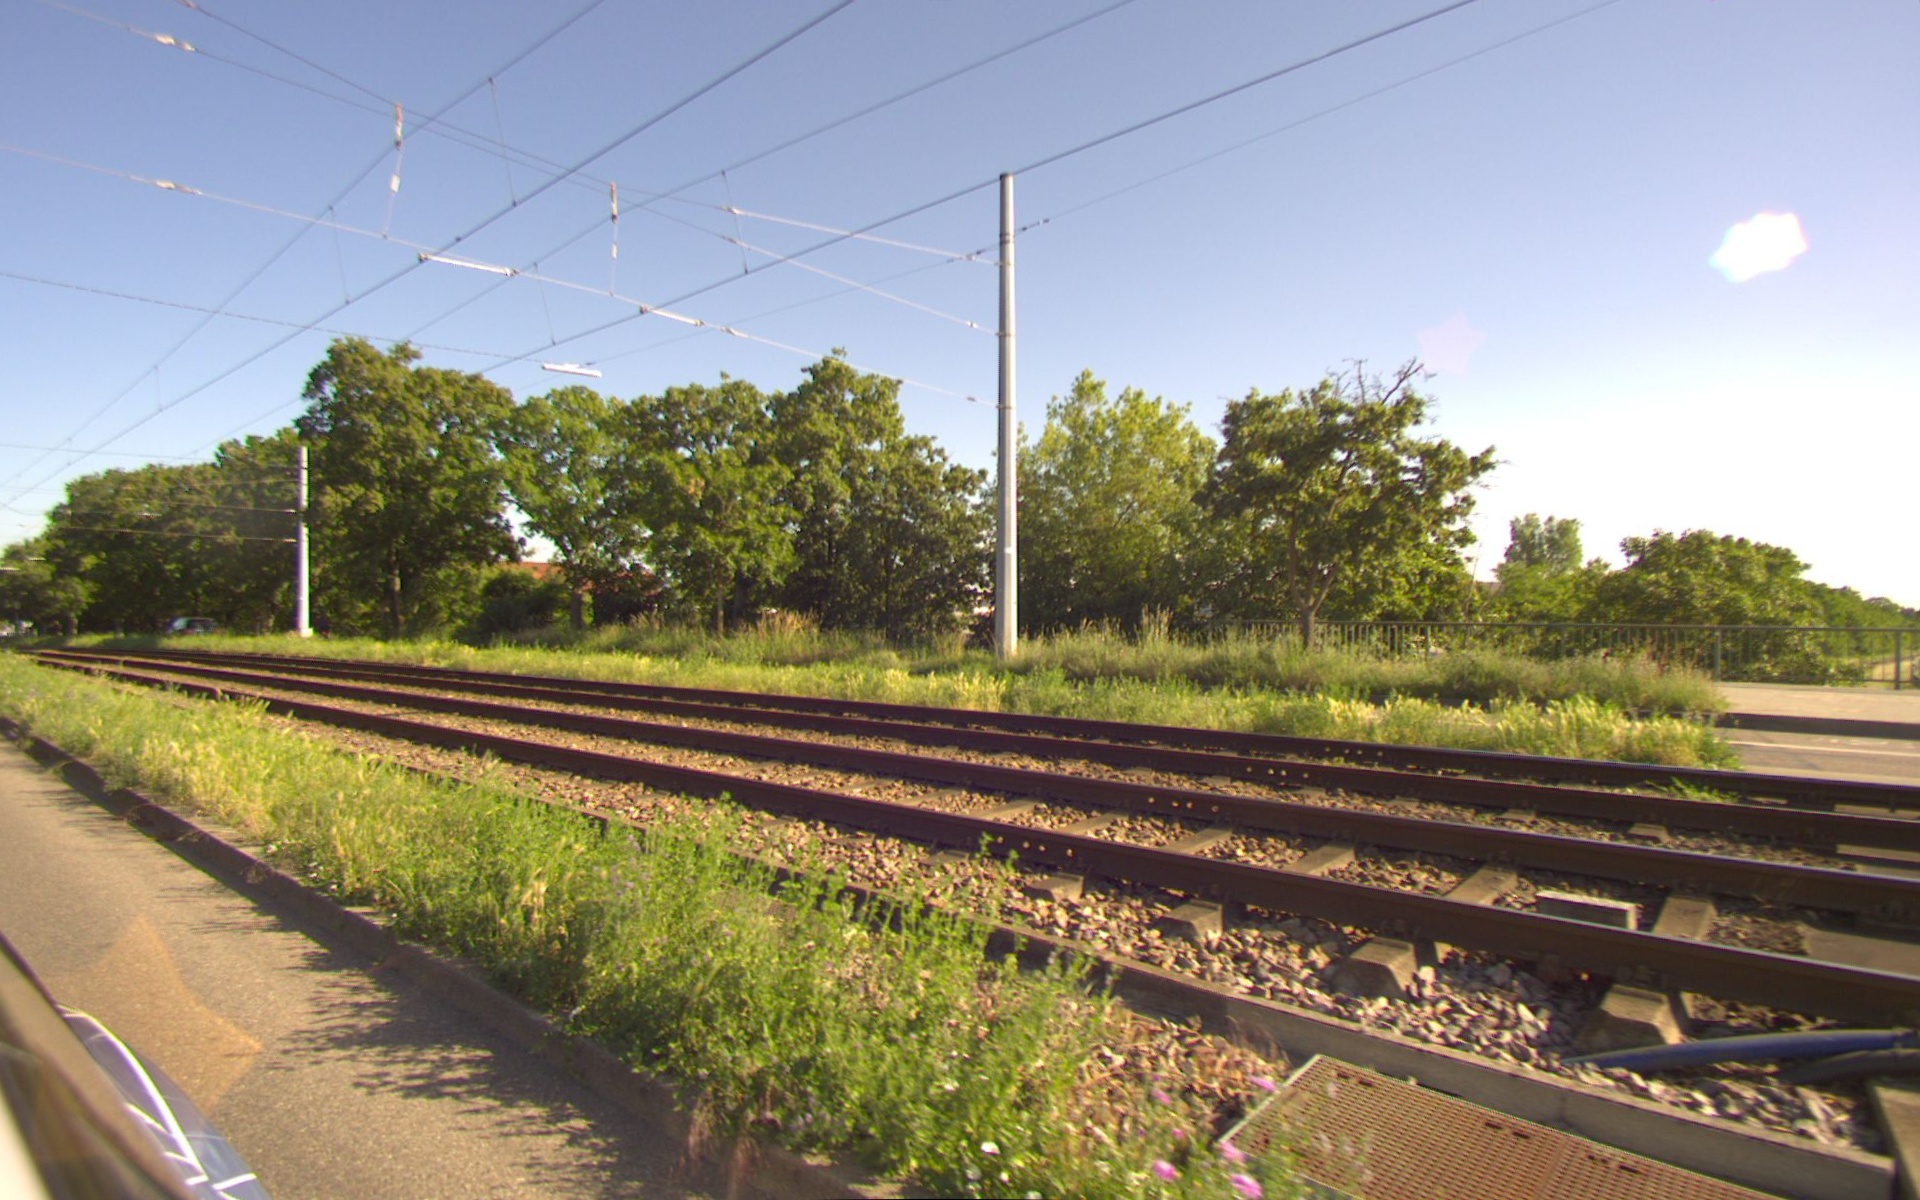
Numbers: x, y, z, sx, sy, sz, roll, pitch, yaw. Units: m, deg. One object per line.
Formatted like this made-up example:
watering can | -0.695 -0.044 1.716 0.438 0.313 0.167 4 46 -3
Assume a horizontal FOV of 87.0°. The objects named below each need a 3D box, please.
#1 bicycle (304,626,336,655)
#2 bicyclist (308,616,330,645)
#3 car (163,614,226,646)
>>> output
bicycle | -29.344 1.834 46.399 2.426 1.271 0.583 -2 0 42
bicyclist | -29.404 1.404 46.427 0.987 1.320 0.576 -2 0 42
car | -39.016 1.510 51.547 4.406 1.500 1.790 -2 0 43
